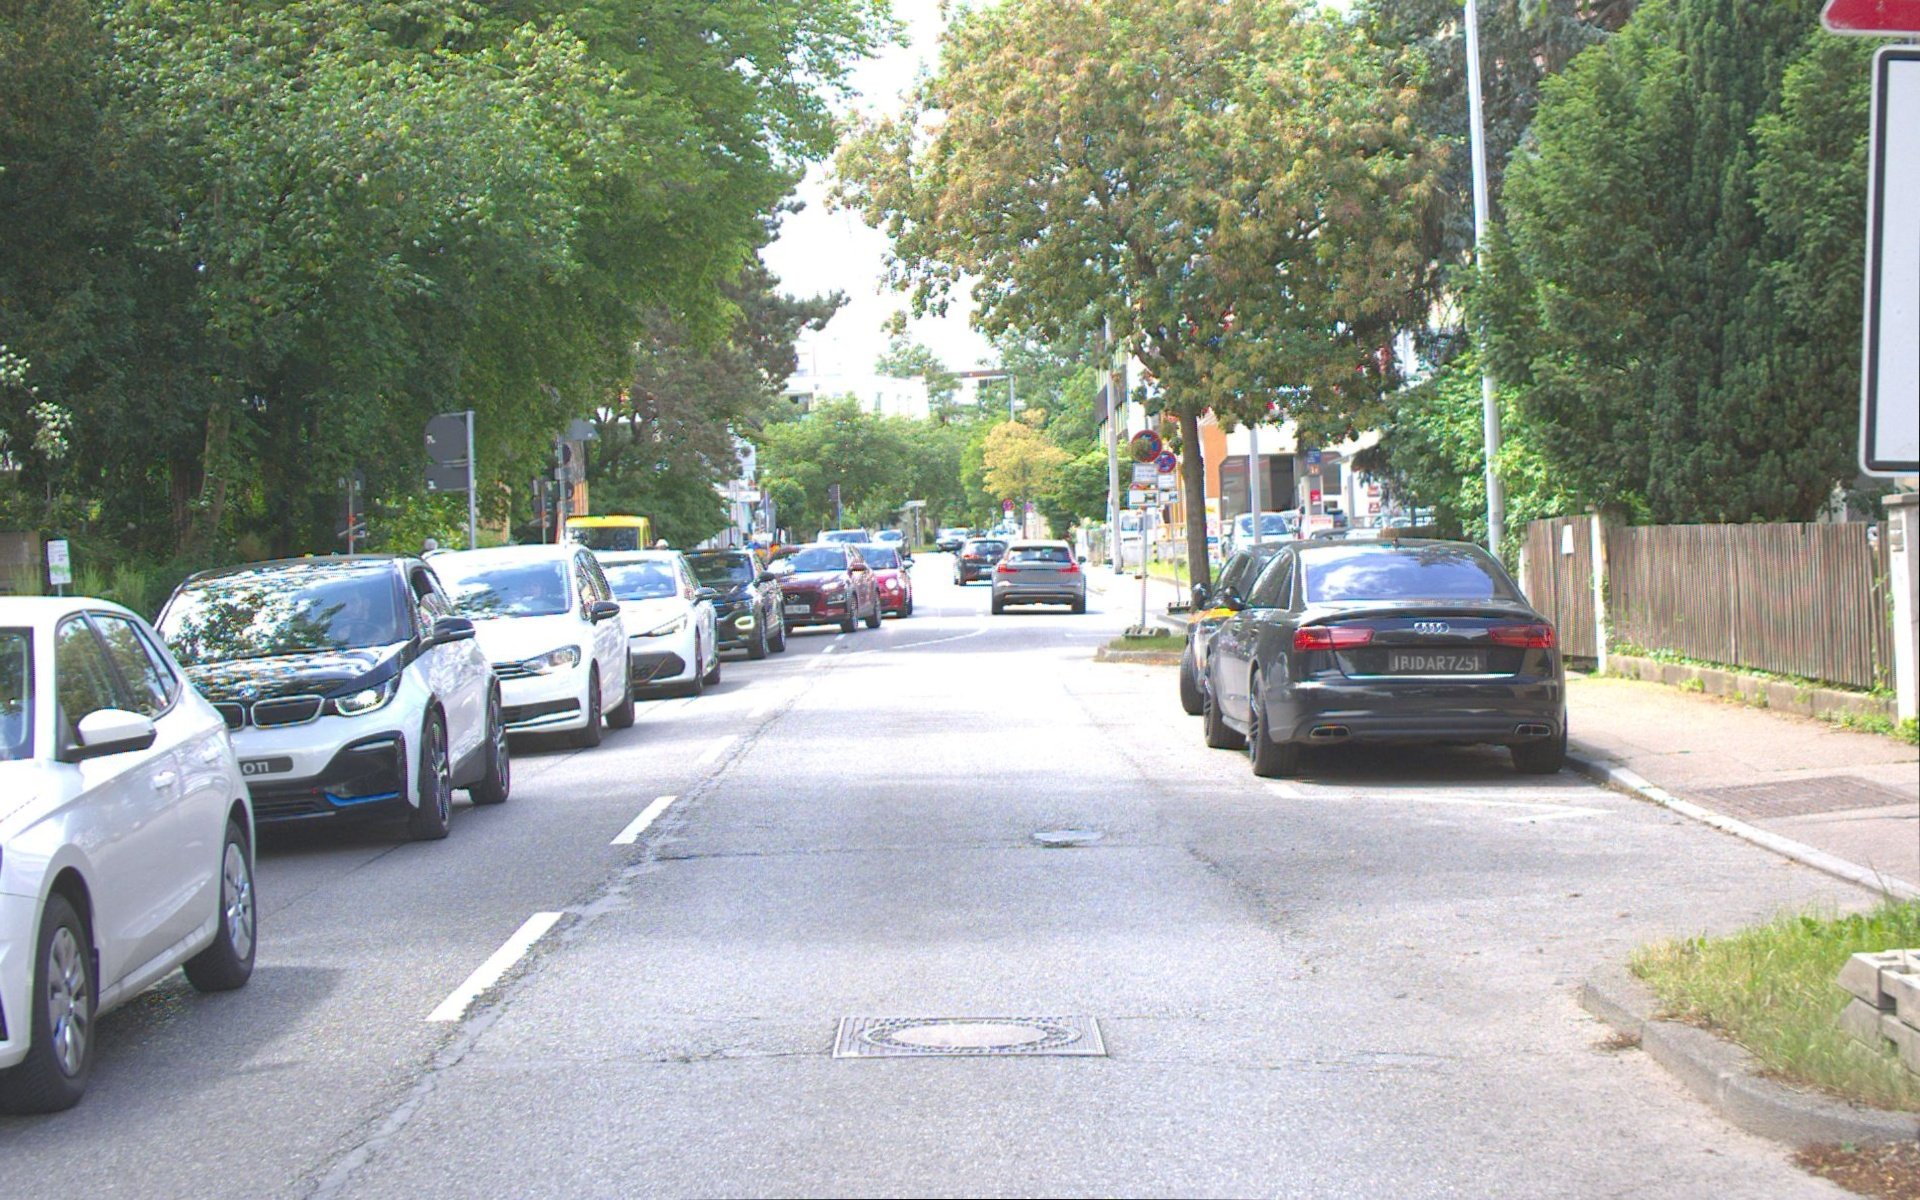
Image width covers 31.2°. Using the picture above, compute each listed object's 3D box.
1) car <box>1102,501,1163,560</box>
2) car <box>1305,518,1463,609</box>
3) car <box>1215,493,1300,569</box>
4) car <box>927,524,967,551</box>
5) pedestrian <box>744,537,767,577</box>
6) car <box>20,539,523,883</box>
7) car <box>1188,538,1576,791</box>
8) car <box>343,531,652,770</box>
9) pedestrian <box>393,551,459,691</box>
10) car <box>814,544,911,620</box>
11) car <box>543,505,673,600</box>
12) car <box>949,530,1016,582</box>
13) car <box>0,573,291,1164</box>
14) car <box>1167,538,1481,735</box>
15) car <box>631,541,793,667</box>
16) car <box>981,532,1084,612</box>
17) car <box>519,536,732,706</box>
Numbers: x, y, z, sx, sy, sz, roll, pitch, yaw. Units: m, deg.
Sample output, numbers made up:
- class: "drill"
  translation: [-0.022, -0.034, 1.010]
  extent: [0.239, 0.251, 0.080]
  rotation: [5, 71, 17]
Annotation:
- class: "car"
  translation: [6.121, -2.452, 122.156]
  extent: [1.993, 2.007, 4.000]
  rotation: [-2, 0, 1]
- class: "car"
  translation: [6.576, -0.592, 53.669]
  extent: [1.724, 1.312, 4.267]
  rotation: [-2, 1, -2]
- class: "car"
  translation: [7.167, -1.672, 83.064]
  extent: [1.784, 1.629, 3.692]
  rotation: [-5, 1, 3]
- class: "car"
  translation: [-0.759, -3.695, 202.805]
  extent: [2.111, 1.495, 4.267]
  rotation: [-3, 1, 2]
- class: "pedestrian"
  translation: [-7.537, -1.591, 126.467]
  extent: [0.705, 1.434, 0.713]
  rotation: [-2, 0, 4]
- class: "car"
  translation: [-3.749, 0.526, 19.475]
  extent: [1.928, 1.541, 4.087]
  rotation: [-5, 1, 0]
- class: "car"
  translation: [2.608, 0.327, 22.357]
  extent: [1.801, 1.440, 4.887]
  rotation: [0, 1, -1]
- class: "car"
  translation: [-3.646, 0.331, 27.830]
  extent: [1.786, 1.642, 4.491]
  rotation: [-4, 1, 0]
- class: "pedestrian"
  translation: [-6.874, 0.265, 44.321]
  extent: [0.714, 1.756, 1.122]
  rotation: [-2, 0, -6]
- class: "car"
  translation: [-1.919, -0.356, 68.485]
  extent: [1.691, 1.420, 3.437]
  rotation: [-2, 0, 2]
- class: "car"
  translation: [-7.839, -1.044, 77.011]
  extent: [2.146, 1.974, 4.930]
  rotation: [-2, 0, 2]
- class: "car"
  translation: [0.668, -1.338, 103.896]
  extent: [1.816, 1.495, 4.267]
  rotation: [-1, 1, -2]
- class: "car"
  translation: [-3.378, 0.732, 10.704]
  extent: [1.760, 1.434, 3.971]
  rotation: [-4, 1, -1]
- class: "car"
  translation: [2.815, 0.227, 27.564]
  extent: [1.824, 1.412, 4.510]
  rotation: [-1, 1, -3]
- class: "car"
  translation: [-3.436, 0.018, 48.390]
  extent: [1.789, 1.536, 4.263]
  rotation: [-4, 1, 1]
- class: "car"
  translation: [1.483, -0.581, 68.835]
  extent: [1.976, 1.508, 4.267]
  rotation: [1, 1, 2]
- class: "car"
  translation: [-3.529, 0.174, 36.934]
  extent: [1.785, 1.586, 4.154]
  rotation: [-4, 1, 0]
